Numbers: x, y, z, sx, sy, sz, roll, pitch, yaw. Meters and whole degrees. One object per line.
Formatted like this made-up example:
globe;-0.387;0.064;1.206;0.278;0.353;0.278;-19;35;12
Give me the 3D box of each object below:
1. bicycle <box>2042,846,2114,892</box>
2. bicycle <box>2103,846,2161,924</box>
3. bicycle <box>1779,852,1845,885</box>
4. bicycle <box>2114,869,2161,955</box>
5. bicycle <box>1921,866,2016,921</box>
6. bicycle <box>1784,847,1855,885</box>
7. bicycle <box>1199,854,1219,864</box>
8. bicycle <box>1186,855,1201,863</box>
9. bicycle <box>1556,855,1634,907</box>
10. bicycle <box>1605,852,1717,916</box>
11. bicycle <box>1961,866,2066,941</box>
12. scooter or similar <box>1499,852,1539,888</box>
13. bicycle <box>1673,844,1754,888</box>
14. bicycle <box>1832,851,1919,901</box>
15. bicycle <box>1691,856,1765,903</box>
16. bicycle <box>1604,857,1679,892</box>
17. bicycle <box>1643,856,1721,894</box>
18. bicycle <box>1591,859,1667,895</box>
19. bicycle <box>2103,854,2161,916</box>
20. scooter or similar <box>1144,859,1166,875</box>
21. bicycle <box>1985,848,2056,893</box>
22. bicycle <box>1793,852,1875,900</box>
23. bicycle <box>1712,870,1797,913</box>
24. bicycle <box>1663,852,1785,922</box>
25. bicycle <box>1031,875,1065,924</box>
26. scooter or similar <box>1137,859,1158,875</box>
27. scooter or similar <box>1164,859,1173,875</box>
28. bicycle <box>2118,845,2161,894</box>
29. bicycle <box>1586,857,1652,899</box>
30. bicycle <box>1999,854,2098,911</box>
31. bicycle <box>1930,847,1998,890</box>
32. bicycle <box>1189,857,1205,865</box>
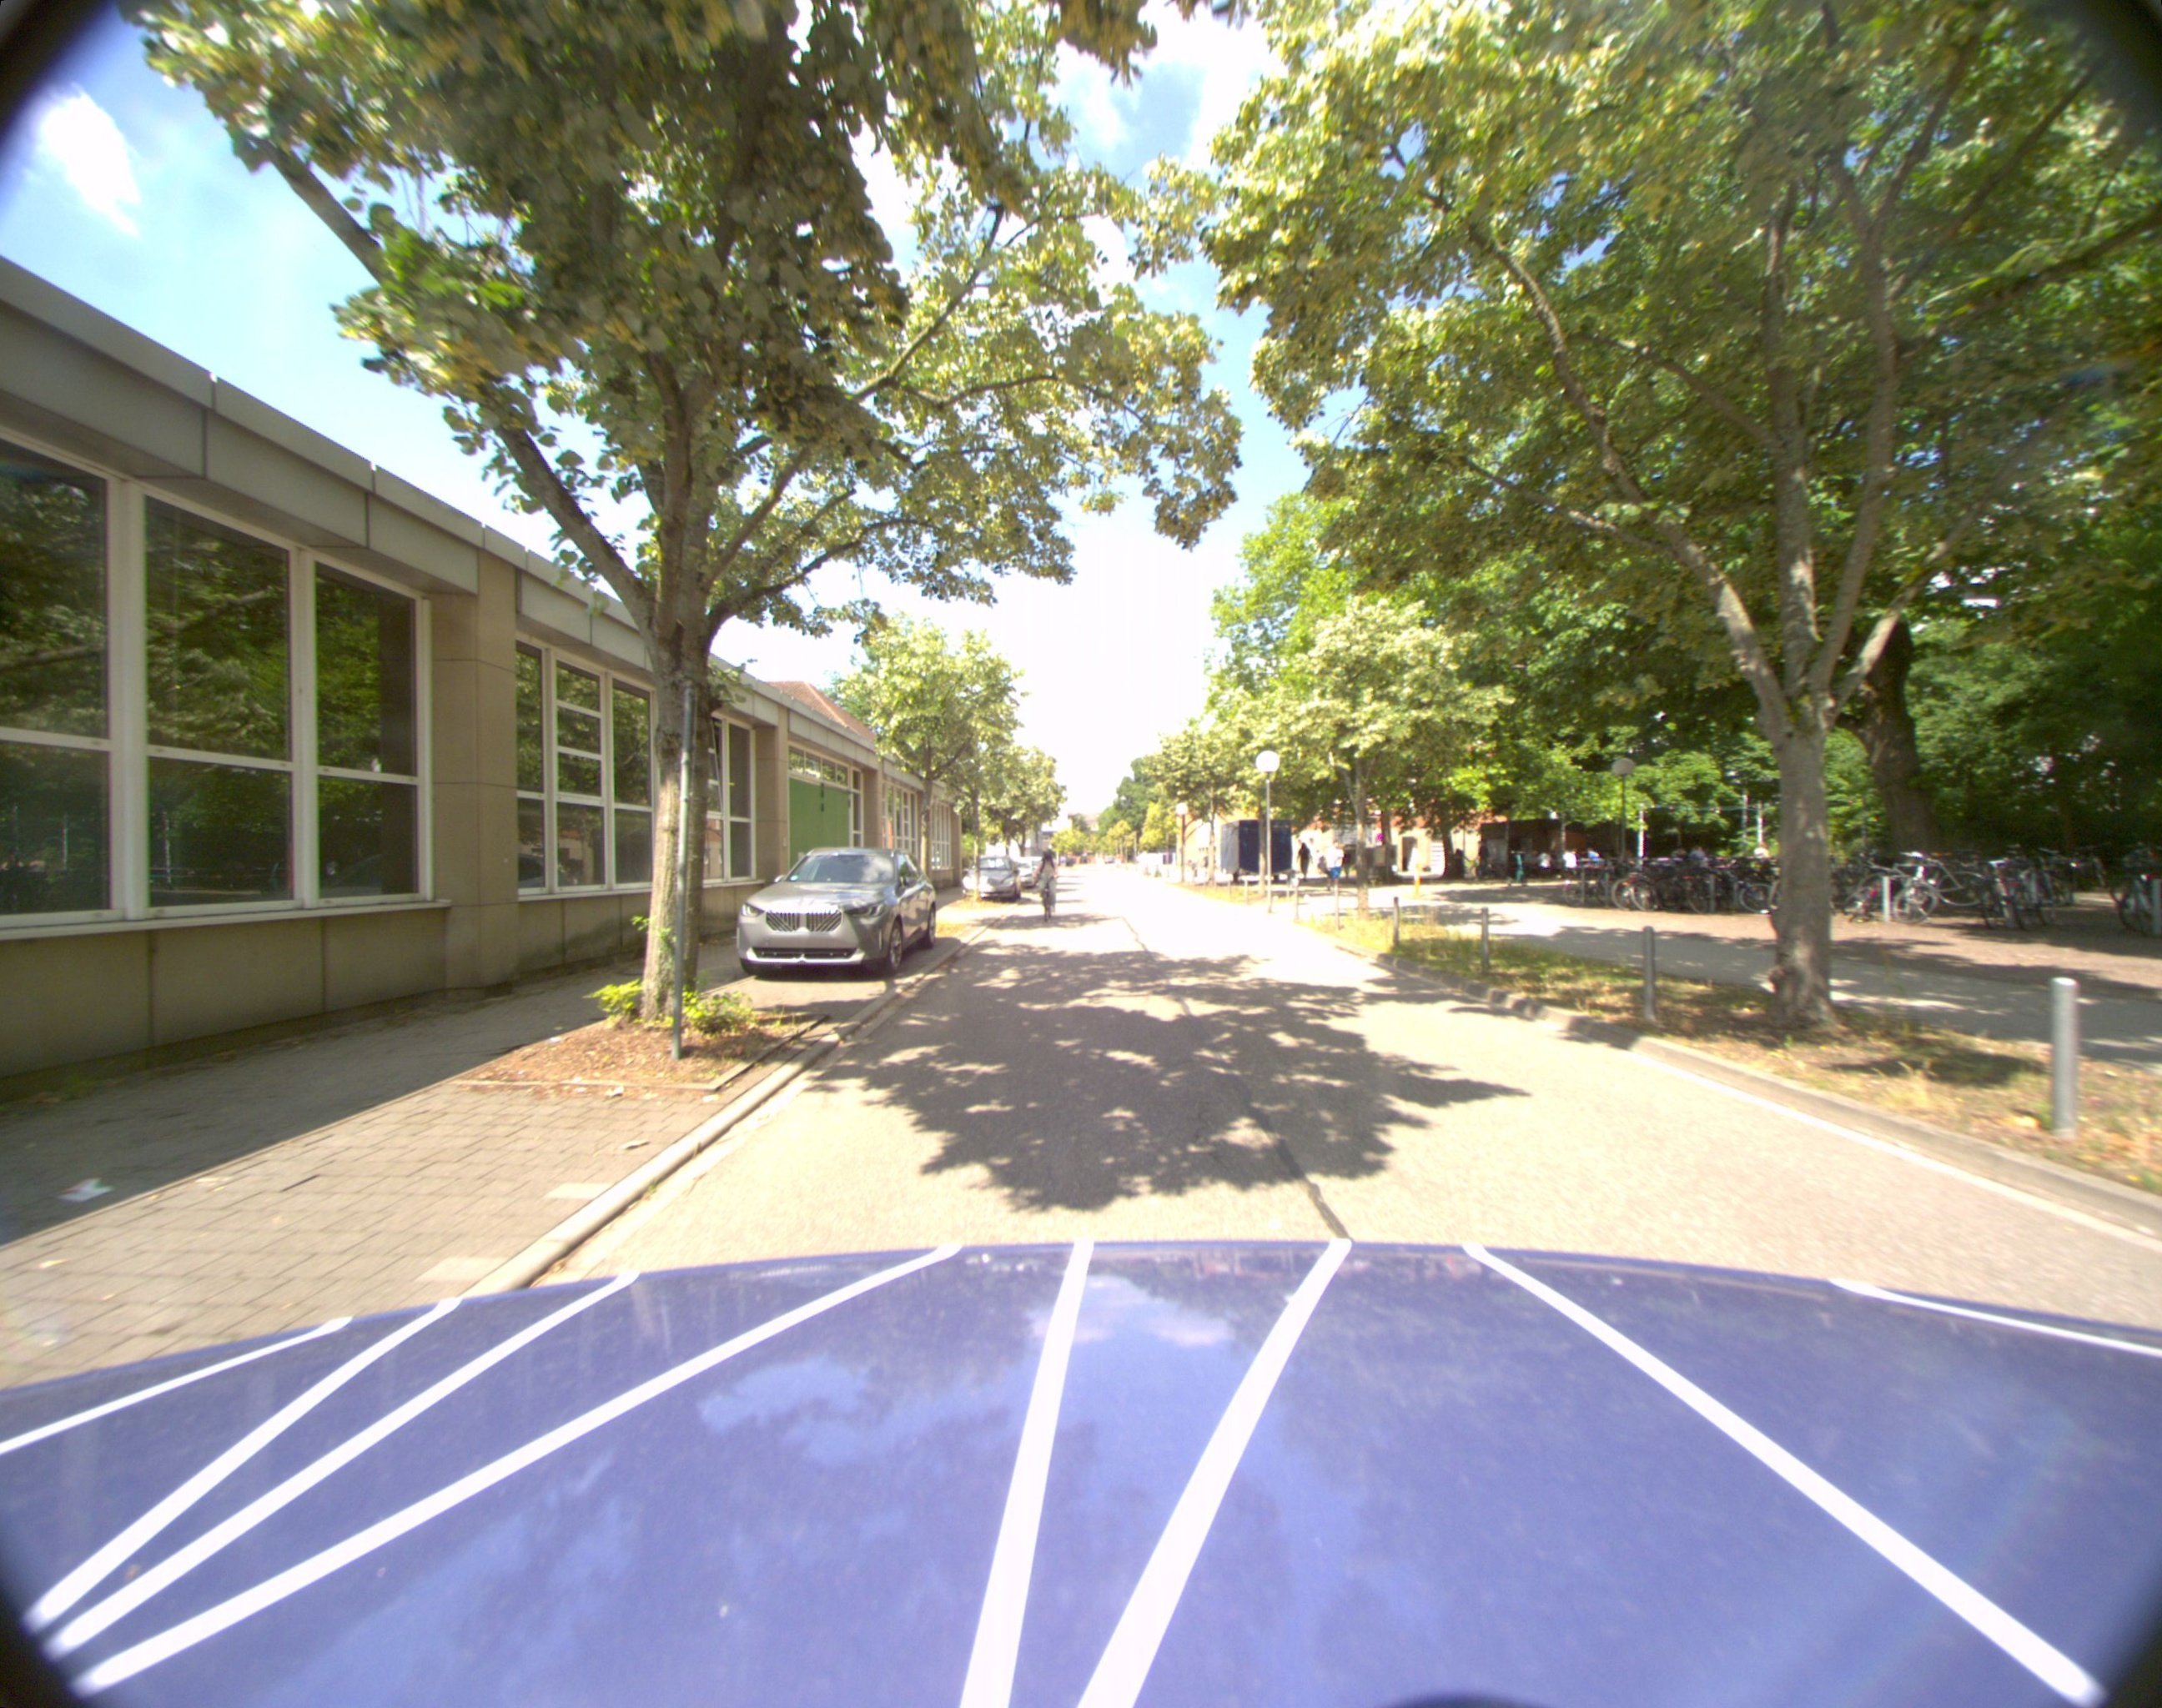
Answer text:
bicycle;25.203;0.367;19.197;1.960;1.085;0.596;-2;2;-22
bicycle;18.117;0.493;13.014;2.064;1.227;0.638;-1;0;-35
bicycle;22.781;0.440;23.681;1.885;0.937;0.546;-1;2;-13
bicycle;14.637;0.739;10.185;2.656;1.002;0.676;-1;0;-42
bicycle;18.939;0.827;16.213;1.969;1.083;0.546;-1;0;-16
bicycle;22.943;0.359;23.611;1.959;1.085;0.596;-1;2;-13
bicycle;13.921;0.556;82.811;2.015;1.076;0.621;-1;0;-1
bicycle;14.890;0.695;100.351;1.955;1.024;0.542;-1;0;-1
bicycle;11.827;0.610;17.469;1.780;1.125;0.458;-1;1;-17
bicycle;12.163;0.602;15.944;2.062;1.227;0.808;-2;1;-17
bicycle;14.256;0.718;11.600;2.157;1.002;0.676;-1;0;-30
scooter or similar;15.545;0.547;27.017;0.700;1.239;1.241;-1;0;0
bicycle;17.120;0.310;20.562;1.968;1.119;0.537;-1;0;-10
bicycle;18.454;0.504;17.636;1.969;1.083;0.546;-1;0;-16
bicycle;16.028;0.621;18.825;1.863;1.083;0.546;-1;0;-21
bicycle;16.899;0.608;22.937;1.807;1.008;0.537;-1;0;3
bicycle;17.007;0.577;21.508;1.968;0.997;0.537;-1;0;-10
bicycle;16.132;0.684;22.390;1.807;1.008;0.537;-1;0;3
bicycle;20.166;0.561;14.487;1.970;1.083;0.546;-1;0;-29
scooter or similar;5.889;1.022;60.452;1.571;1.218;0.571;0;1;27
bicycle;24.388;0.416;19.716;1.960;1.085;0.596;-2;2;-22
bicycle;18.290;0.523;18.460;1.969;1.083;0.537;-1;0;-17
bicycle;17.350;0.944;19.583;1.968;1.021;0.537;-1;0;-10
bicycle;12.521;0.616;14.806;2.062;1.227;0.808;-3;1;-17
bicycle;-0.786;1.096;18.784;0.675;1.066;2.136;-1;0;2
scooter or similar;5.195;1.022;59.185;1.571;1.218;0.525;0;1;27
scooter or similar;6.676;0.997;57.932;0.564;1.142;1.351;0;1;12
bicycle;25.759;0.359;18.208;1.960;1.085;0.596;-2;2;-22
bicycle;14.873;0.652;21.002;1.863;1.083;0.546;-1;0;-21
bicycle;19.702;0.560;15.476;1.969;1.083;0.546;-1;0;-16
bicycle;23.880;0.384;20.544;1.960;1.085;0.596;-2;2;-22
bicycle;14.584;0.906;95.474;1.955;0.935;0.569;-1;0;-1
